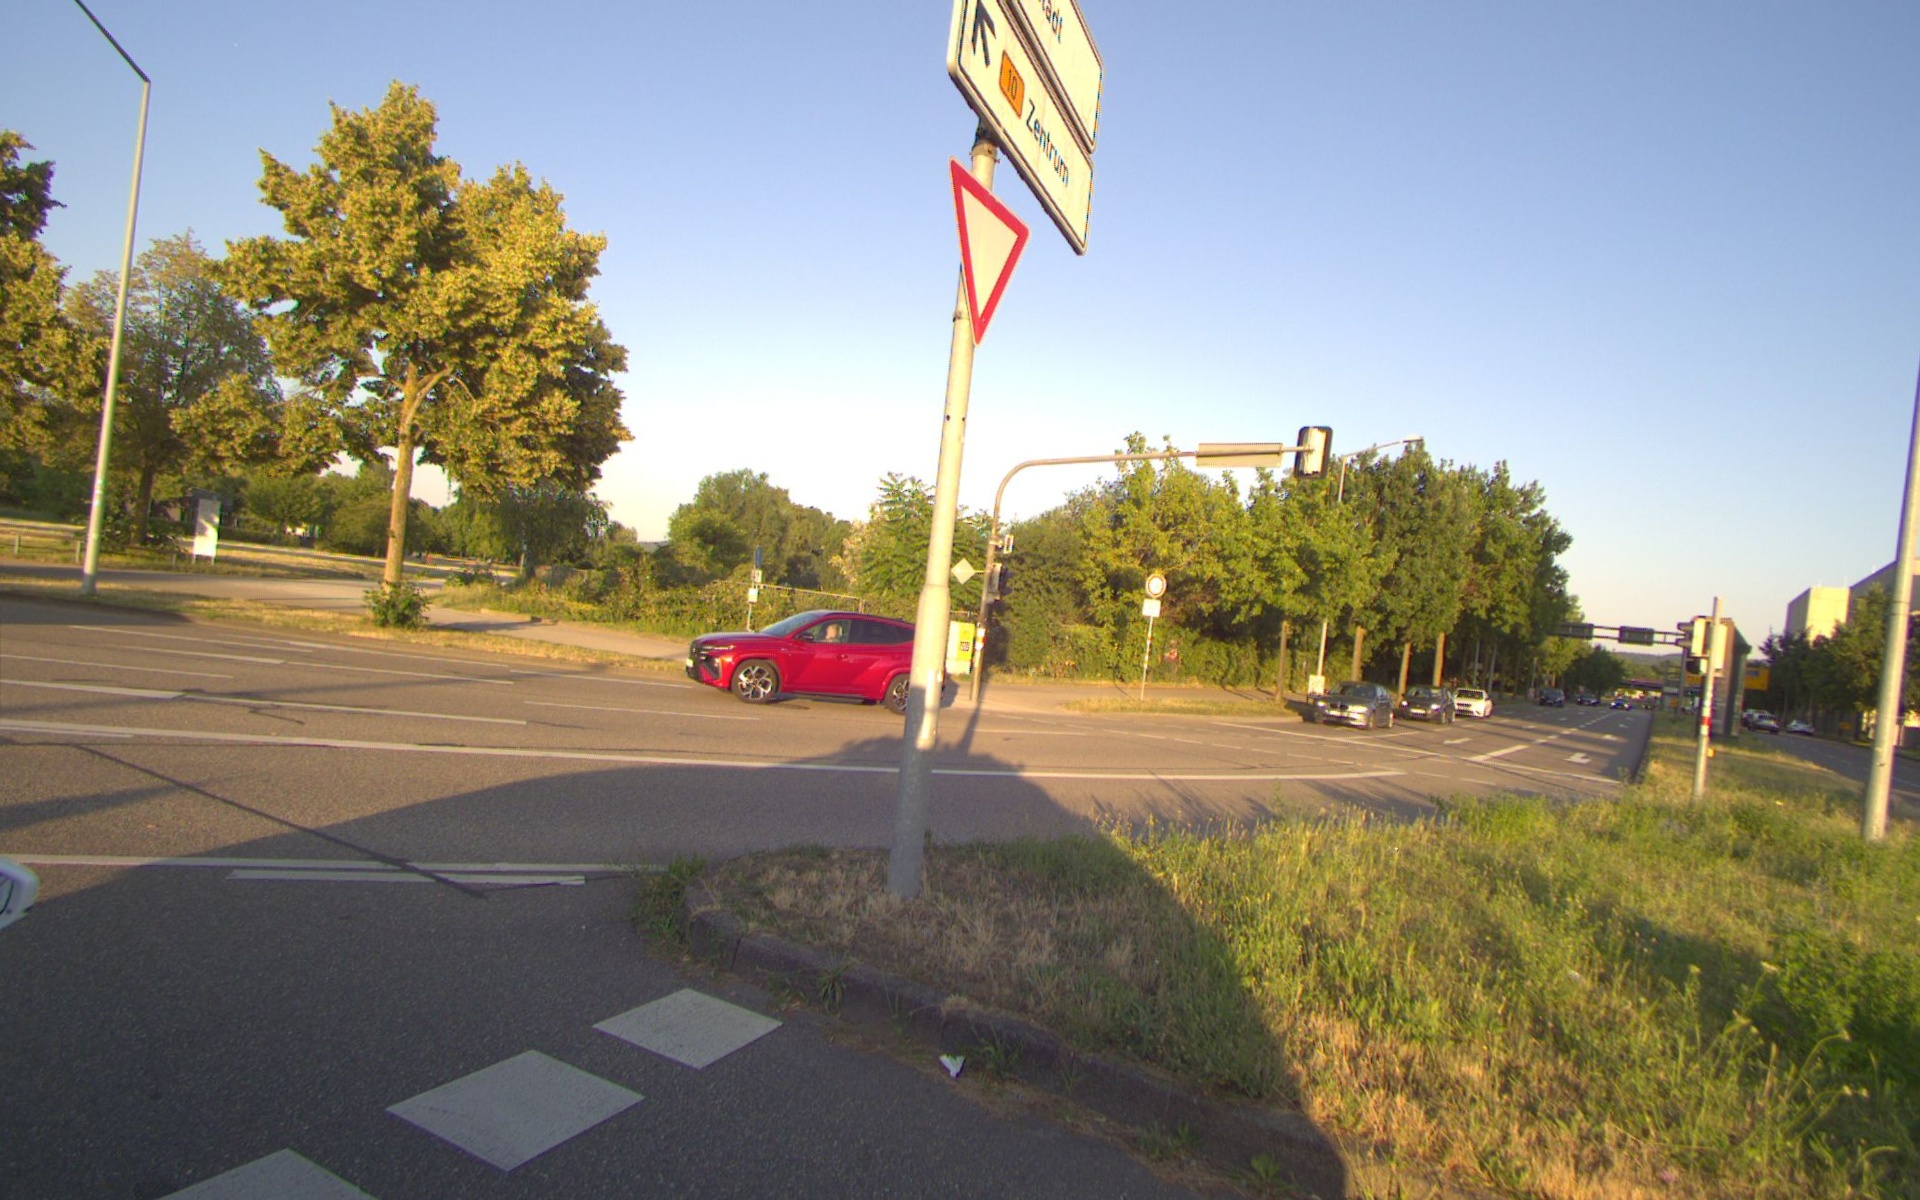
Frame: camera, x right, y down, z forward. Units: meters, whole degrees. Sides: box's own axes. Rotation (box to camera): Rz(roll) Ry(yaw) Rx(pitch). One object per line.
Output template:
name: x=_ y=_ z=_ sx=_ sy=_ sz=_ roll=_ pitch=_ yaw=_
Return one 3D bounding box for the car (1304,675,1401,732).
car: x=12.287 y=3.211 z=31.336 sx=1.838 sy=1.406 sz=4.153 roll=7 pitch=-1 yaw=34

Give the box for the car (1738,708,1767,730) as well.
car: x=85.434 y=12.828 z=108.550 sx=2.036 sy=1.970 sz=4.946 roll=7 pitch=-1 yaw=36

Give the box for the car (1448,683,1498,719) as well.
car: x=25.763 y=5.018 z=50.461 sx=1.836 sy=1.472 sz=3.965 roll=8 pitch=0 yaw=30

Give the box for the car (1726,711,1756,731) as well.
car: x=78.412 y=12.118 z=101.092 sx=1.968 sy=1.648 sz=3.990 roll=7 pitch=-1 yaw=34

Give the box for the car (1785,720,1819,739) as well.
car: x=84.613 y=13.005 z=101.132 sx=1.968 sy=1.444 sz=4.189 roll=7 pitch=-1 yaw=33

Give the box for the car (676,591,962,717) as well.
car: x=-2.421 y=0.943 z=17.361 sx=4.362 sy=1.592 sz=1.987 roll=8 pitch=-1 yaw=-26

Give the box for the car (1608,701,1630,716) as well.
car: x=77.506 y=12.741 z=118.282 sx=1.969 sy=1.523 sz=4.758 roll=7 pitch=-1 yaw=35

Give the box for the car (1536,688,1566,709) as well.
car: x=53.485 y=8.927 z=91.014 sx=1.886 sy=1.602 sz=4.169 roll=7 pitch=-1 yaw=35

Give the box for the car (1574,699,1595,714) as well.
car: x=75.027 y=12.797 z=120.825 sx=1.968 sy=1.523 sz=4.611 roll=6 pitch=-1 yaw=33

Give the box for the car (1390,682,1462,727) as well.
car: x=18.822 y=4.190 z=40.525 sx=1.838 sy=1.471 sz=4.152 roll=7 pitch=-1 yaw=35

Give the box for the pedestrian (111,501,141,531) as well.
pedestrian: x=-50.076 y=-5.038 z=60.427 sx=0.896 sy=1.637 sz=1.070 roll=7 pitch=0 yaw=34

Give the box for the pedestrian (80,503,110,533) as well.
pedestrian: x=-51.769 y=-4.900 z=60.218 sx=0.896 sy=1.637 sz=1.070 roll=7 pitch=0 yaw=34

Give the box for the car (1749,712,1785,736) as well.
car: x=67.859 y=10.395 z=84.665 sx=1.969 sy=1.648 sz=3.989 roll=7 pitch=-1 yaw=36
